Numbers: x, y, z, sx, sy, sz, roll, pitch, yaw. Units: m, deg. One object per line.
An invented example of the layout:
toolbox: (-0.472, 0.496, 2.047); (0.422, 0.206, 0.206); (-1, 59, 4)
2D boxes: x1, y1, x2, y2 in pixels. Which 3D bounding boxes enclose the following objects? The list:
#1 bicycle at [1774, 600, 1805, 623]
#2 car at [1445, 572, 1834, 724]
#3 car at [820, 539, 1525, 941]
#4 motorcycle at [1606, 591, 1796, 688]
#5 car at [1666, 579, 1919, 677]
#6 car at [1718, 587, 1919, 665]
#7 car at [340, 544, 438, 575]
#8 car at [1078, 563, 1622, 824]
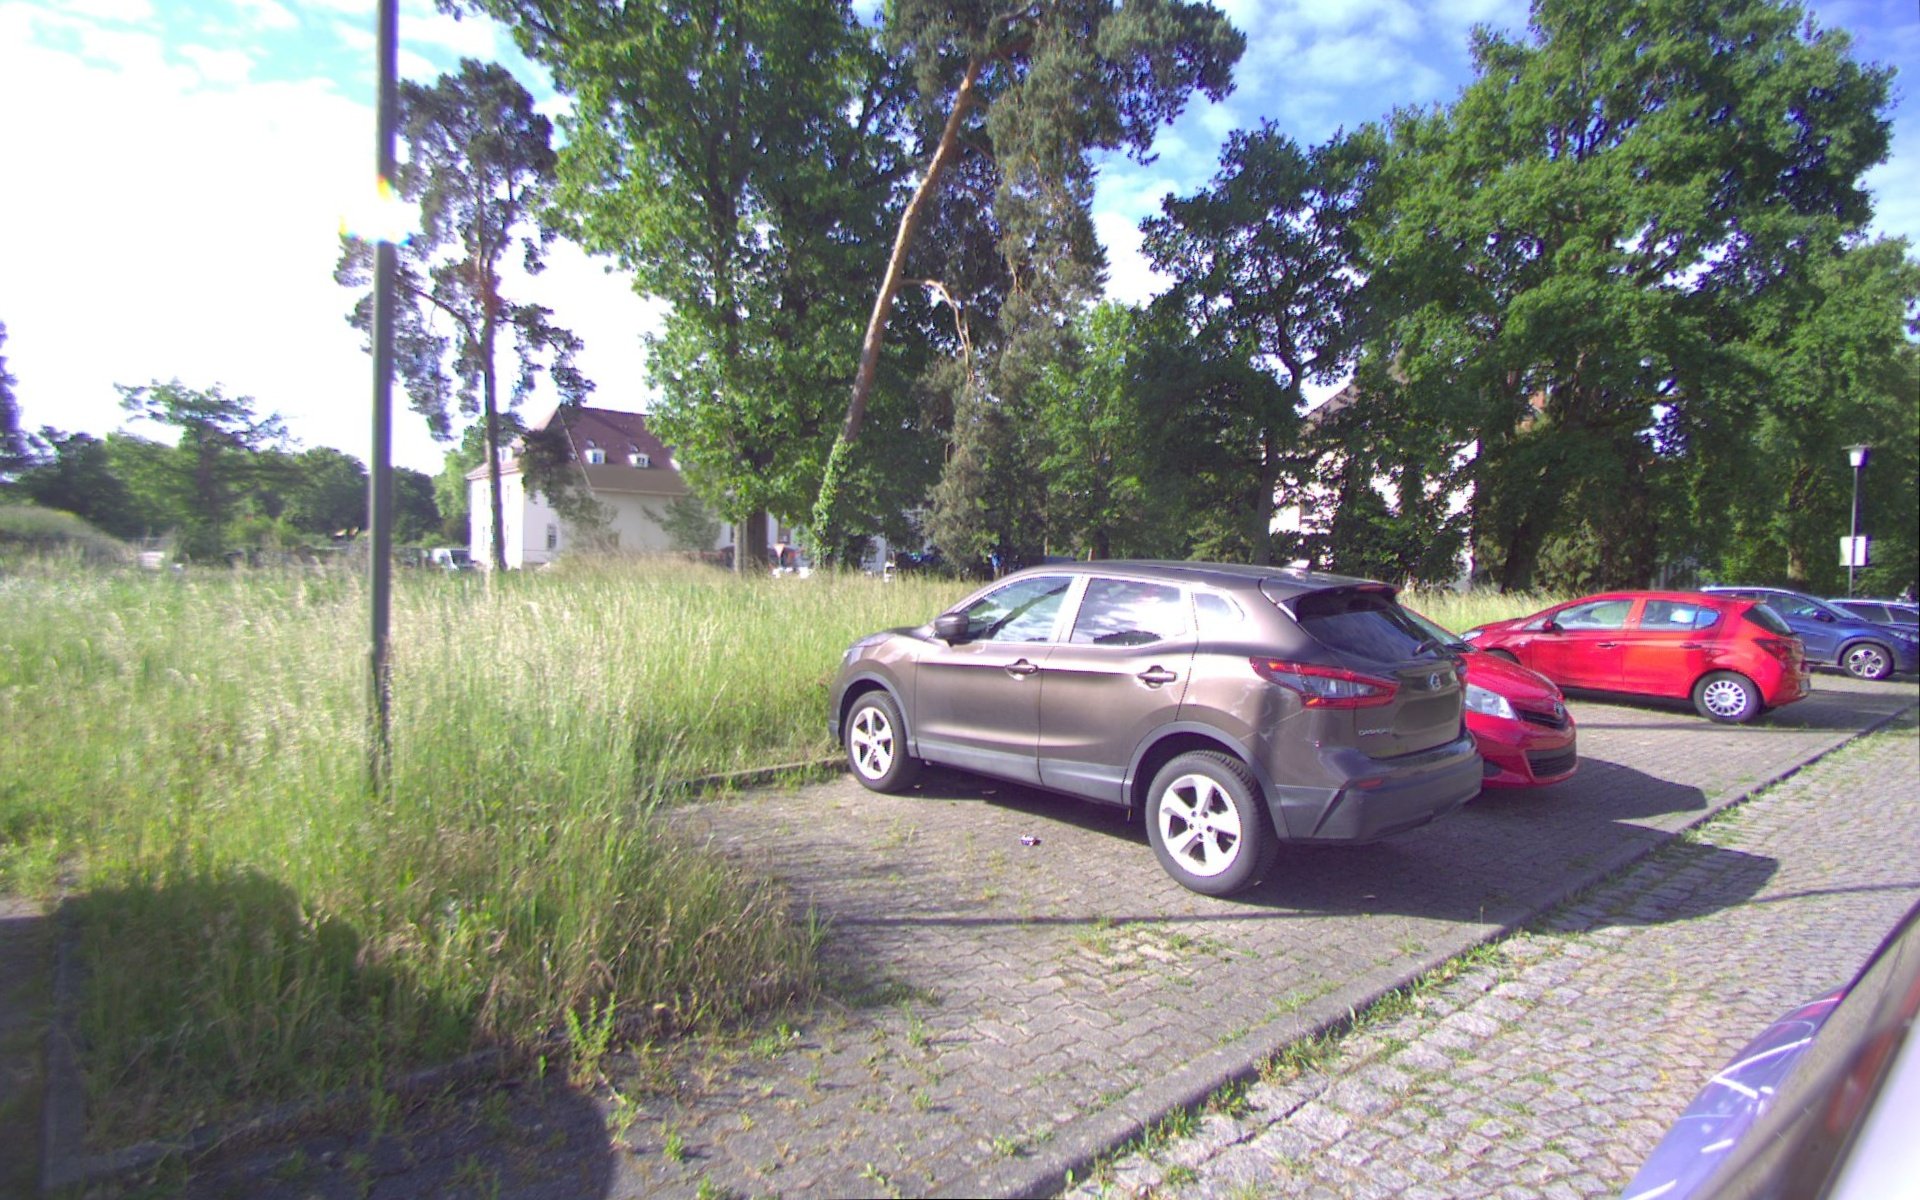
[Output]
bicycle: (37.249, 0.512, 45.435); (1.231, 1.029, 0.711); (1, 2, -34)
car: (8.577, 0.488, 13.037); (1.617, 1.496, 3.835); (0, 3, -42)
car: (0.983, 0.494, 6.185); (1.741, 1.641, 3.943); (0, 2, -42)
motorcycle: (11.774, 0.585, 16.157); (0.713, 1.336, 2.305); (1, 3, -41)
car: (16.350, 0.474, 19.499); (1.721, 1.610, 4.185); (0, 2, -41)
car: (19.830, 0.556, 22.489); (1.682, 1.425, 4.464); (0, 3, -38)
car: (-41.644, -2.950, 74.001); (5.888, 2.198, 2.381); (0, 2, -19)
car: (2.901, 0.525, 8.177); (1.616, 1.549, 3.771); (0, 2, -40)
